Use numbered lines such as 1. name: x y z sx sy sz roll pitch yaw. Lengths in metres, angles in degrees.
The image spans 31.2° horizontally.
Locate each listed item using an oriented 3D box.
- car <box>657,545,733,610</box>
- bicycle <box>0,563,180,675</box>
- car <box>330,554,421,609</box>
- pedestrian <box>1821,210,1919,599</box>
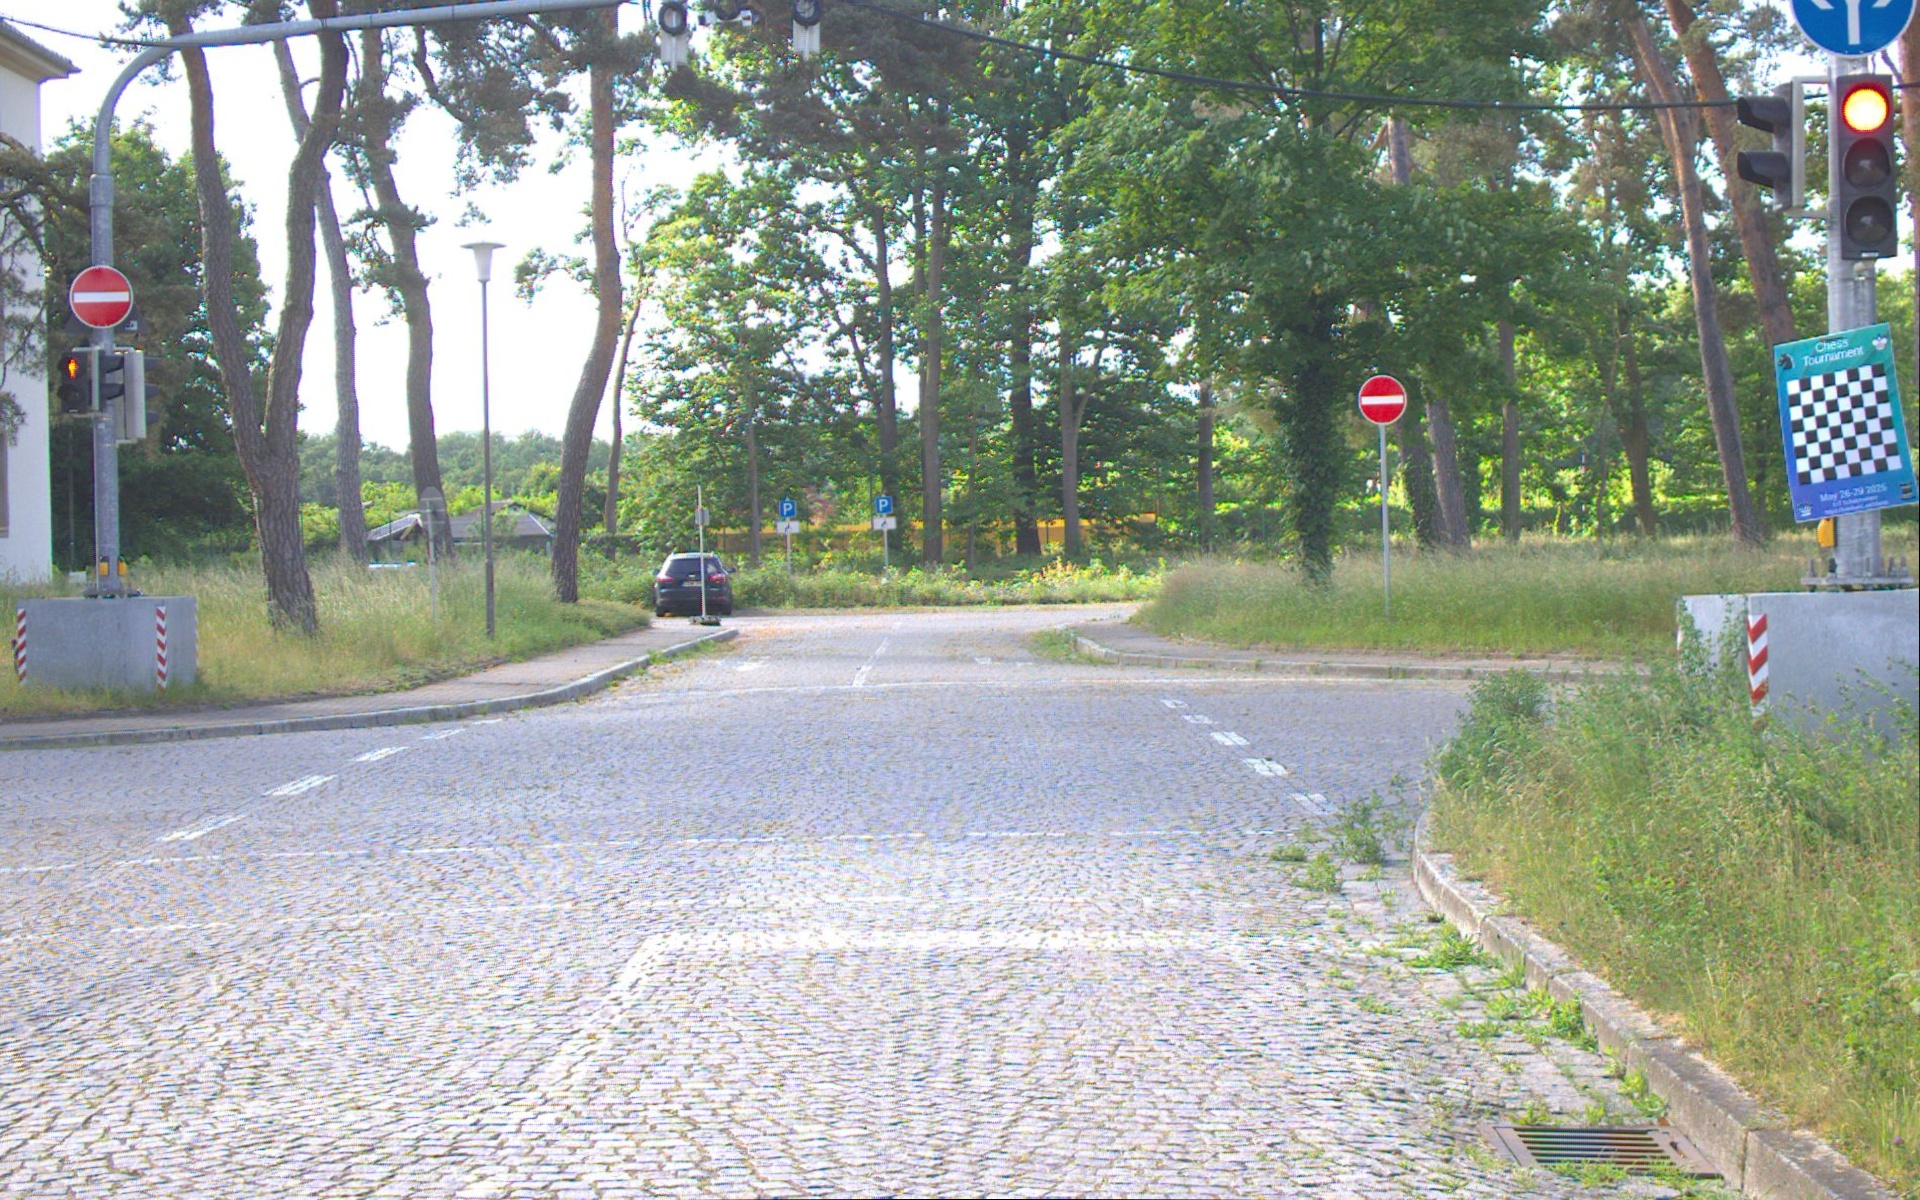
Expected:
1. car: -6.458 -0.566 84.088 1.709 1.491 3.919 -1 1 -2
2. bicycle: -8.863 0.180 34.703 0.634 1.062 1.946 0 1 39
3. car: -14.399 -0.477 84.853 1.709 1.269 3.919 -1 1 -2
4. pedestrian: 4.838 -0.931 16.335 1.170 1.790 1.061 -1 1 29
